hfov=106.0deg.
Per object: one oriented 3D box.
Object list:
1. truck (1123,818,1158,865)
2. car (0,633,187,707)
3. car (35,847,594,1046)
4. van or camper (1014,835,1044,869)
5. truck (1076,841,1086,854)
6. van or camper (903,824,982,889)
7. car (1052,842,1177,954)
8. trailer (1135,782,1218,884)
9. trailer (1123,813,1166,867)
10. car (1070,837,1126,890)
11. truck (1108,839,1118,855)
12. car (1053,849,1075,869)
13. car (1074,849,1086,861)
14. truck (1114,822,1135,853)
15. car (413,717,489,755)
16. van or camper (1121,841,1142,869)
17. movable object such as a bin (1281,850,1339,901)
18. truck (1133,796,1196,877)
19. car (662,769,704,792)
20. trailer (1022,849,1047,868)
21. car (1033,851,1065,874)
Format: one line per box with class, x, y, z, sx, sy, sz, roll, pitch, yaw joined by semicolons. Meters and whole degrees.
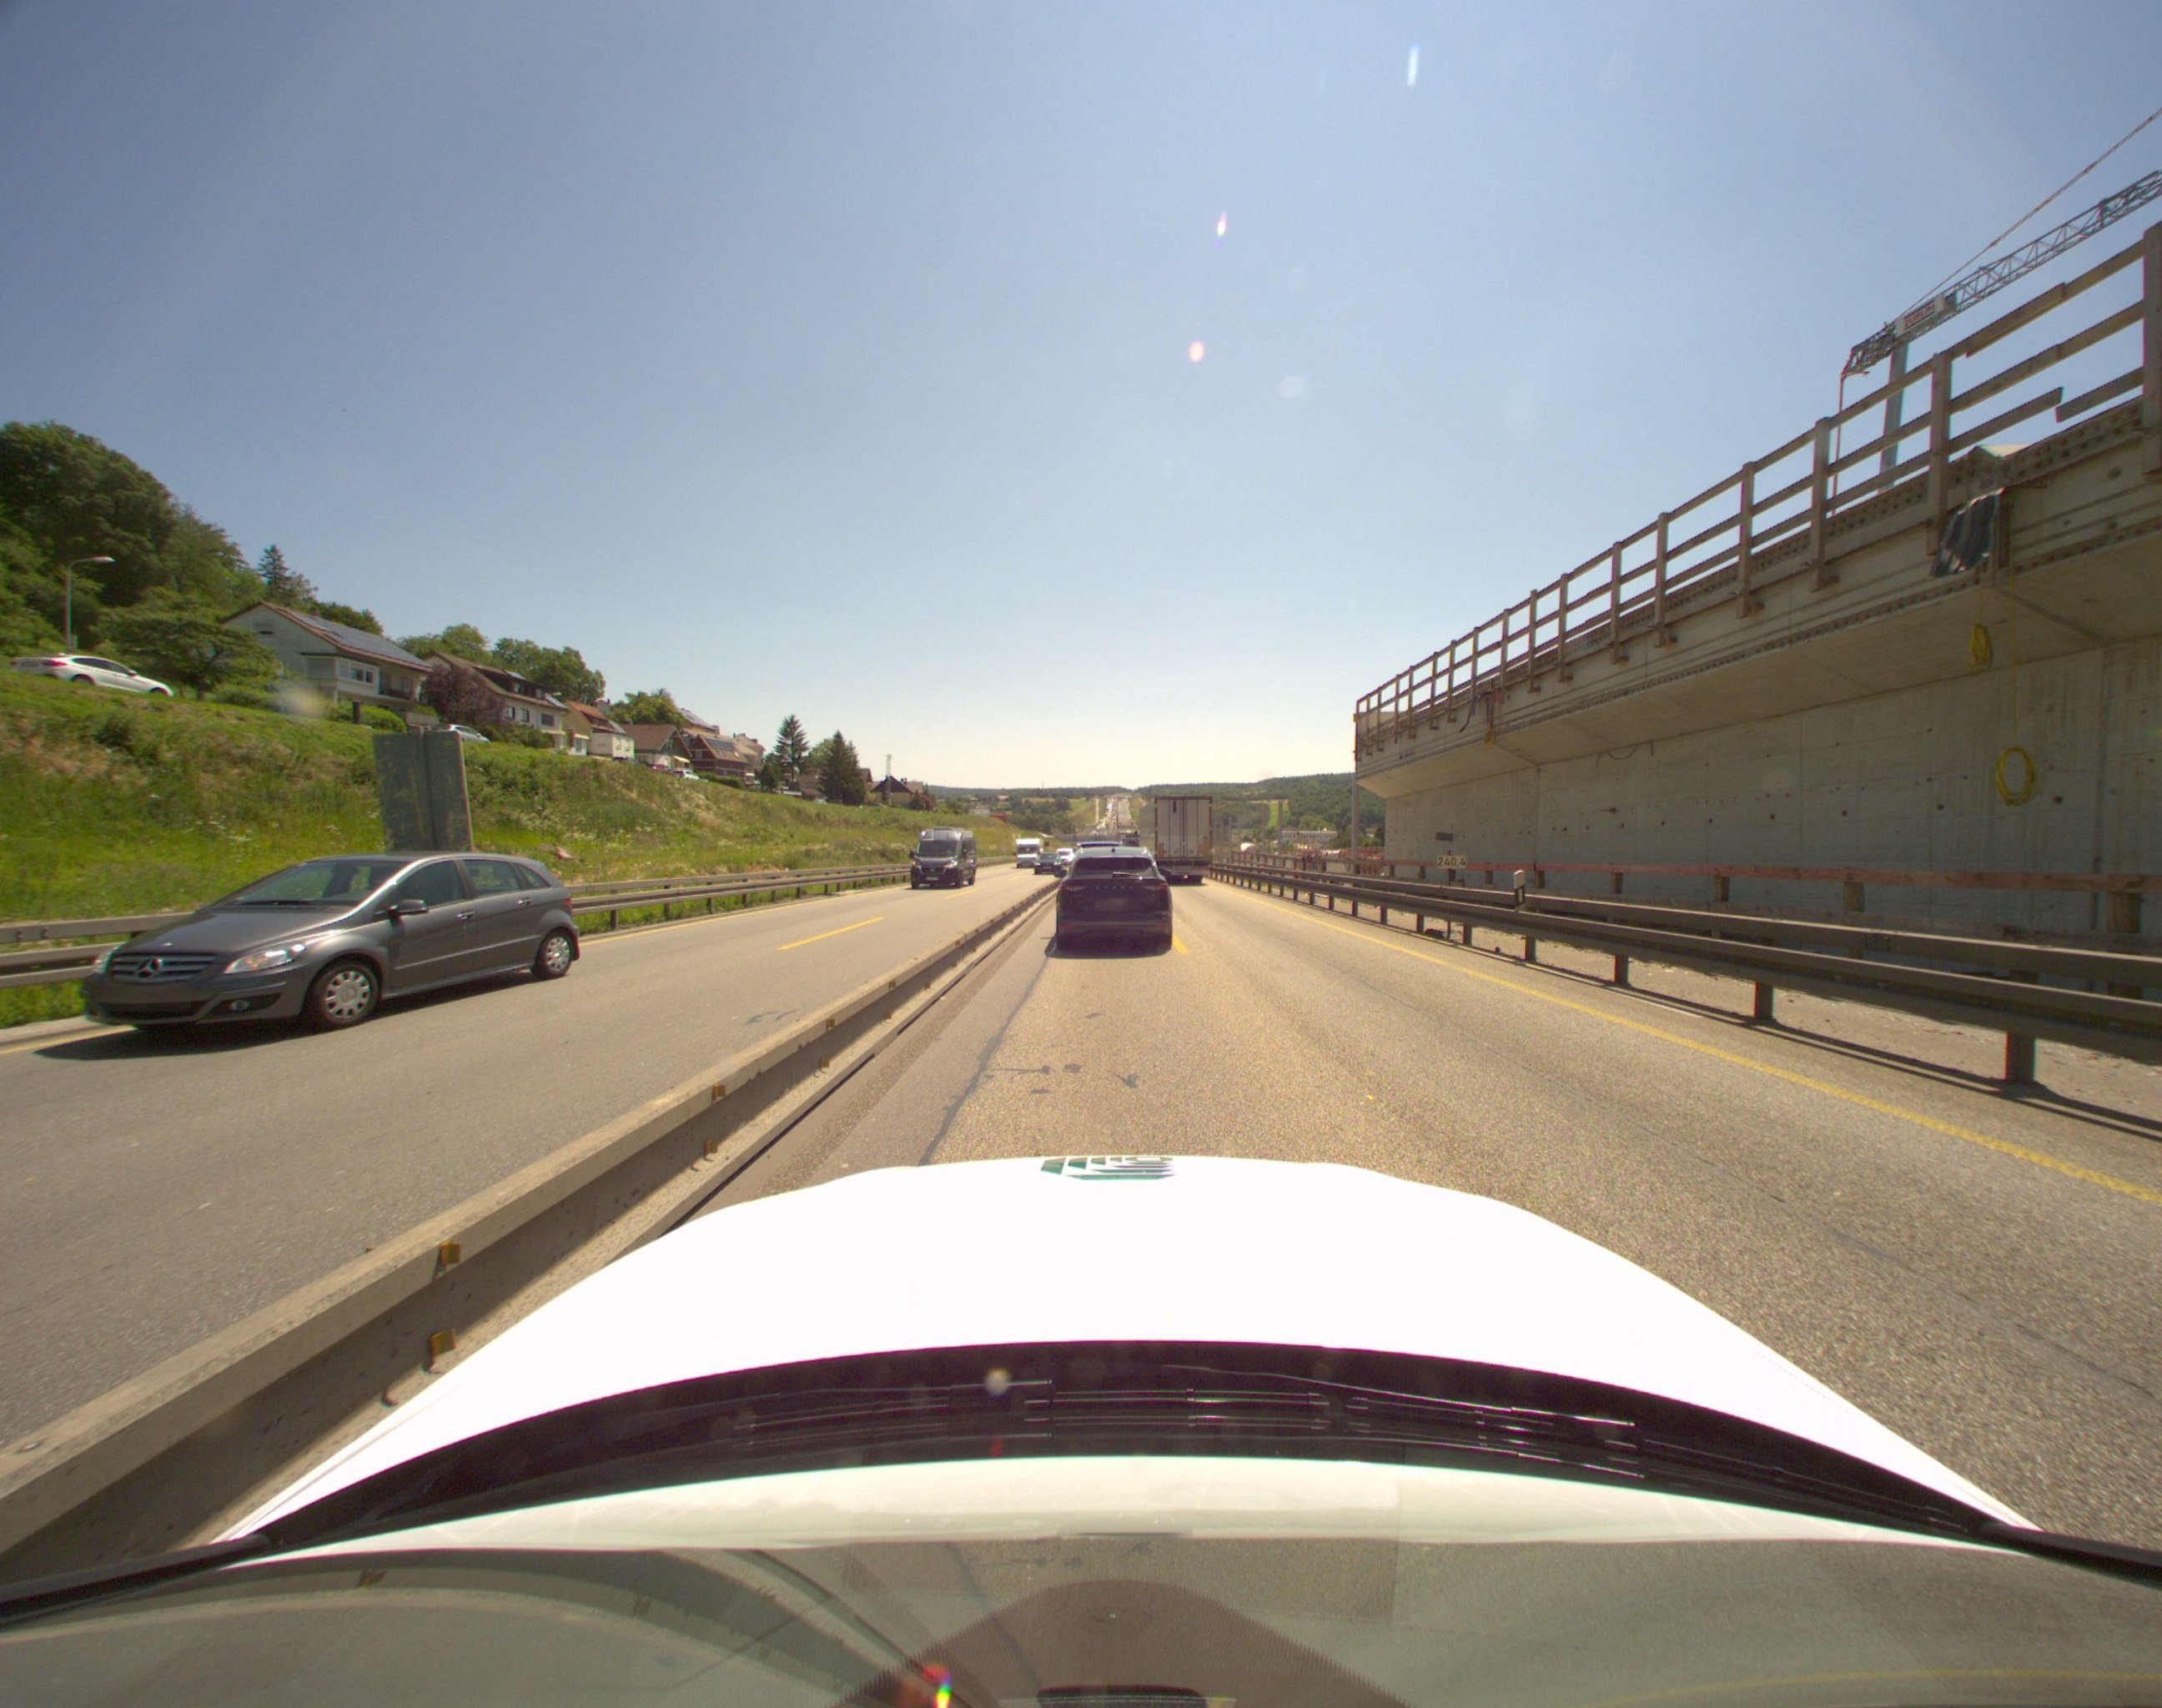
truck;5.969;-1.130;83.096;3.168;4.513;8.168;-1;-1;2
car;-40.073;-7.396;33.199;1.990;1.794;5.003;0;-1;-5
car;-7.402;0.736;8.638;1.766;1.582;4.287;0;0;2
van or camper;-4.938;-0.176;78.518;2.282;3.066;6.926;0;0;2
truck;0.057;-1.828;240.933;2.769;3.672;6.279;-1;0;1
van or camper;-5.948;0.092;35.896;2.132;2.573;6.567;0;0;2
car;0.572;0.653;13.879;1.795;1.607;4.002;-1;0;2
trailer;4.676;-0.980;42.845;3.168;4.512;13.114;-1;0;2
trailer;5.722;-1.088;75.921;3.168;4.513;14.971;-1;-1;2
car;0.675;0.381;31.776;1.986;1.926;4.509;-1;-1;1
truck;8.767;-1.840;223.076;2.630;4.194;9.287;-1;-1;2
car;-1.596;0.424;76.987;1.831;1.828;5.041;-1;0;1
car;-0.088;0.085;103.496;1.478;1.505;2.806;-1;0;2
truck;6.646;-2.427;125.789;2.842;4.465;11.919;-1;-1;1
car;-40.443;-7.545;52.416;1.990;1.794;3.993;0;-1;-5
van or camper;6.200;0.221;100.011;2.378;3.281;6.475;-1;-1;4
movable object such as a bin;22.531;2.113;80.742;3.215;4.743;9.657;-1;-1;1
truck;4.891;-1.007;49.331;3.168;4.512;8.169;-1;0;2
car;-43.485;-8.003;89.077;2.341;2.041;4.815;-1;-1;-1
trailer;-4.813;0.412;84.426;2.093;1.894;5.143;0;0;2
car;-2.102;0.537;55.158;1.836;1.475;4.836;-1;0;1
